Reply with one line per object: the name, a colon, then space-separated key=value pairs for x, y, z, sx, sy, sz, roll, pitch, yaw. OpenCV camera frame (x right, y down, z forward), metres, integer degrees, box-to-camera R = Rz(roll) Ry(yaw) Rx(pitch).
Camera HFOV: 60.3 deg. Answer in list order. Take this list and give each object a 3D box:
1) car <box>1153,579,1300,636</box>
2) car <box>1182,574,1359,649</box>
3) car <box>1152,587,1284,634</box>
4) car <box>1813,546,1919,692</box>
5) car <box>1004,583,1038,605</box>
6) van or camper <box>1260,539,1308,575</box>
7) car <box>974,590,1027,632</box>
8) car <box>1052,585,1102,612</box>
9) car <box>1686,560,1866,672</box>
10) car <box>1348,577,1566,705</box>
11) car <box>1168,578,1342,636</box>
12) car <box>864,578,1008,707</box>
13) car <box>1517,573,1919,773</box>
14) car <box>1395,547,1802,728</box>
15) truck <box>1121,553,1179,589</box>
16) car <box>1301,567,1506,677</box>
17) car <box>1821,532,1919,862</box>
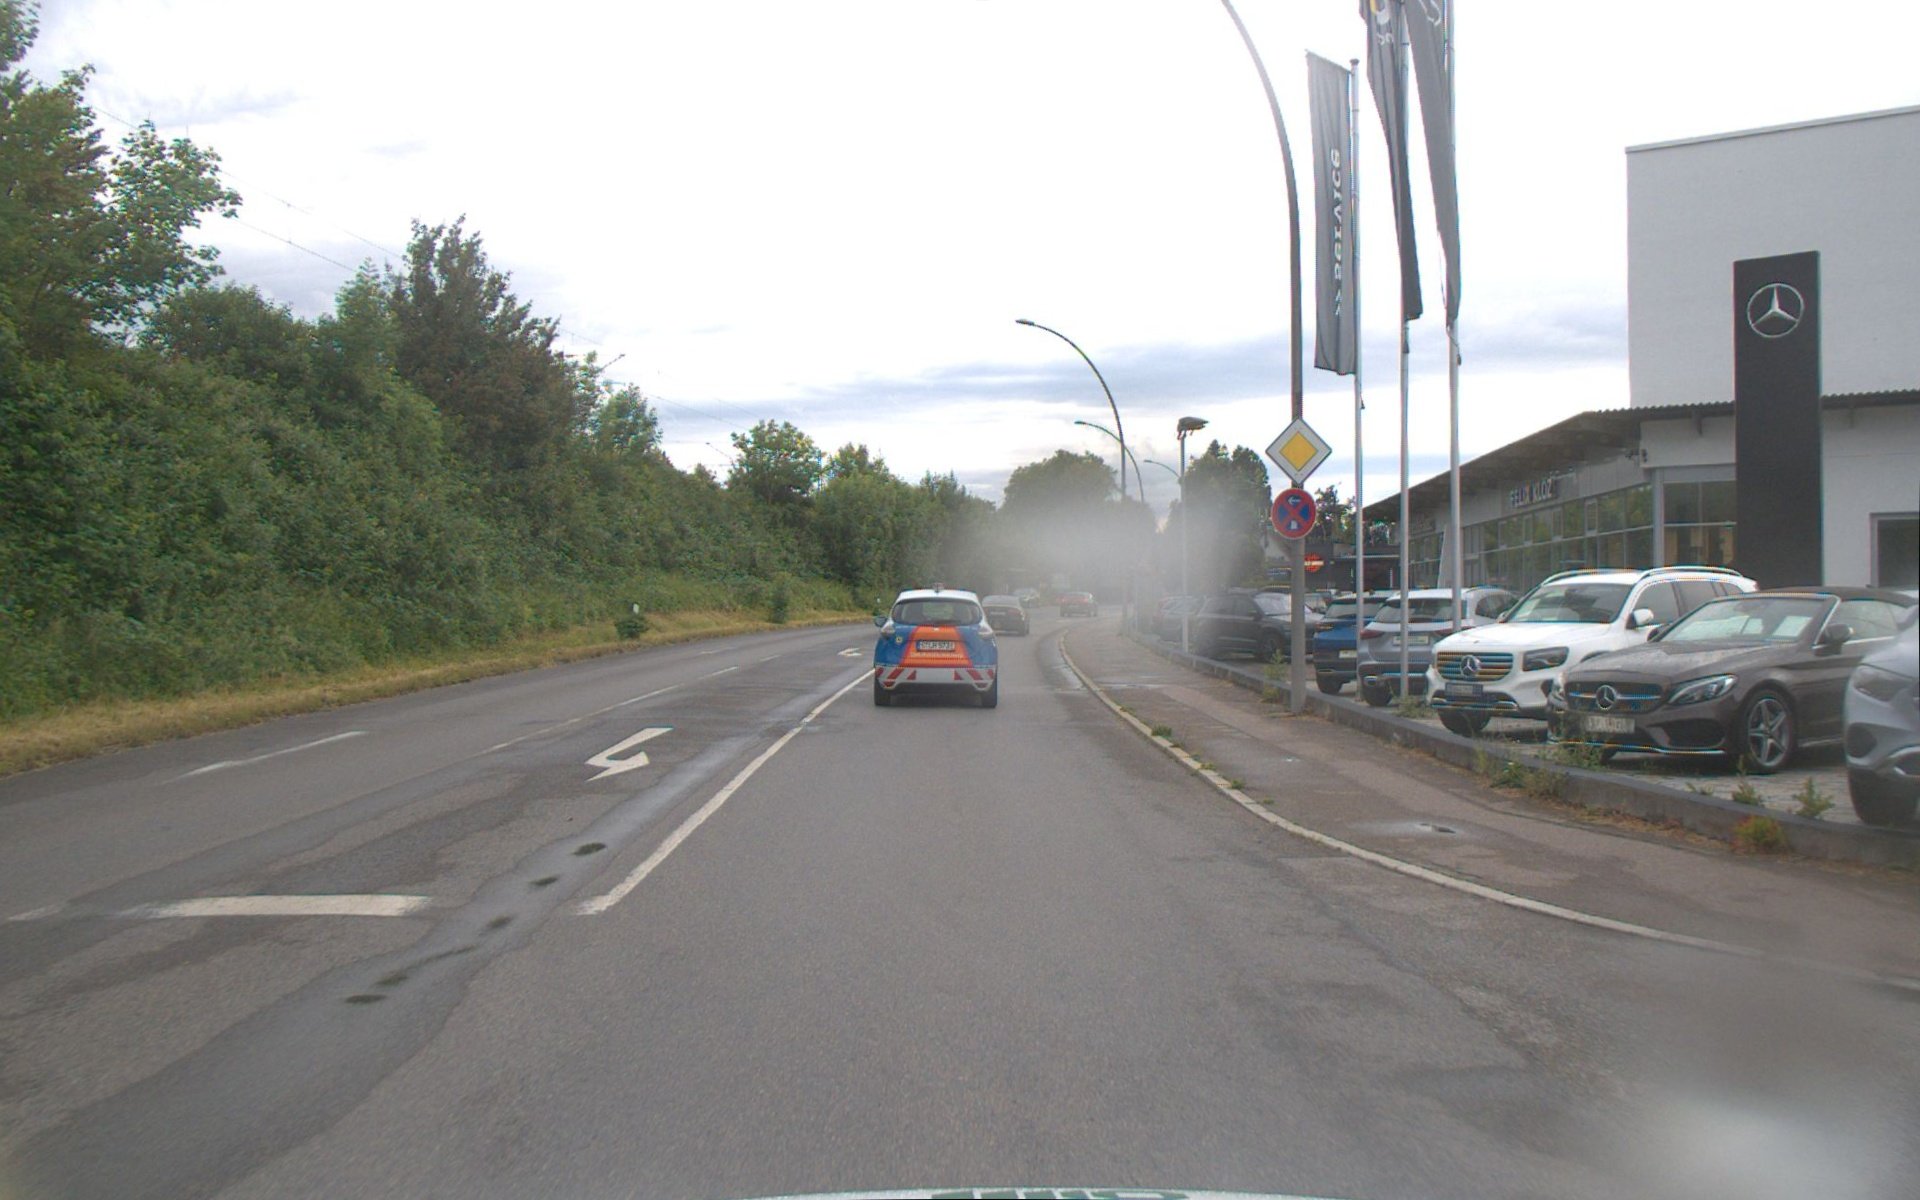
car: x=7.918 y=0.203 z=49.324 sx=3.927 sy=1.583 sz=1.888 roll=1 pitch=0 yaw=41
car: x=7.353 y=0.241 z=39.661 sx=1.814 sy=1.636 sz=4.511 roll=-2 pitch=1 yaw=-26
car: x=9.968 y=0.409 z=64.023 sx=4.600 sy=1.691 sz=1.994 roll=1 pitch=0 yaw=34
car: x=11.278 y=0.237 z=19.091 sx=1.650 sy=1.479 sz=3.902 roll=-7 pitch=-6 yaw=39
car: x=4.608 y=-0.437 z=123.775 sx=1.951 sy=1.499 sz=4.704 roll=1 pitch=0 yaw=9
van or camper: x=24.765 y=-3.260 z=126.206 sx=2.001 sy=2.638 sz=6.585 roll=-1 pitch=1 yaw=25
car: x=1.457 y=0.374 z=58.319 sx=1.684 sy=1.400 sz=3.935 roll=1 pitch=0 yaw=3
car: x=6.779 y=-0.120 z=95.252 sx=1.951 sy=1.445 sz=4.002 roll=-1 pitch=1 yaw=18
car: x=12.658 y=0.191 z=25.537 sx=1.865 sy=1.572 sz=3.985 roll=0 pitch=1 yaw=36
car: x=7.181 y=0.544 z=23.676 sx=1.698 sy=1.627 sz=3.798 roll=-2 pitch=0 yaw=38
car: x=8.126 y=0.189 z=45.748 sx=4.354 sy=1.505 sz=1.927 roll=0 pitch=1 yaw=36
car: x=-0.377 y=0.567 z=23.746 sx=1.850 sy=1.660 sz=3.998 roll=1 pitch=0 yaw=-2
car: x=6.821 y=0.512 z=13.883 sx=4.084 sy=1.418 sz=1.834 roll=-1 pitch=0 yaw=-30
car: x=6.832 y=0.319 z=17.548 sx=4.376 sy=1.681 sz=1.904 roll=-1 pitch=0 yaw=-35
truck: x=19.803 y=-2.971 z=171.615 sx=2.647 sy=3.471 sz=9.055 roll=1 pitch=0 yaw=29
car: x=7.553 y=0.330 z=27.881 sx=1.807 sy=1.661 sz=4.349 roll=-3 pitch=-1 yaw=37
car: x=6.753 y=0.488 z=9.796 sx=1.931 sy=1.700 sz=4.338 roll=0 pitch=0 yaw=42
